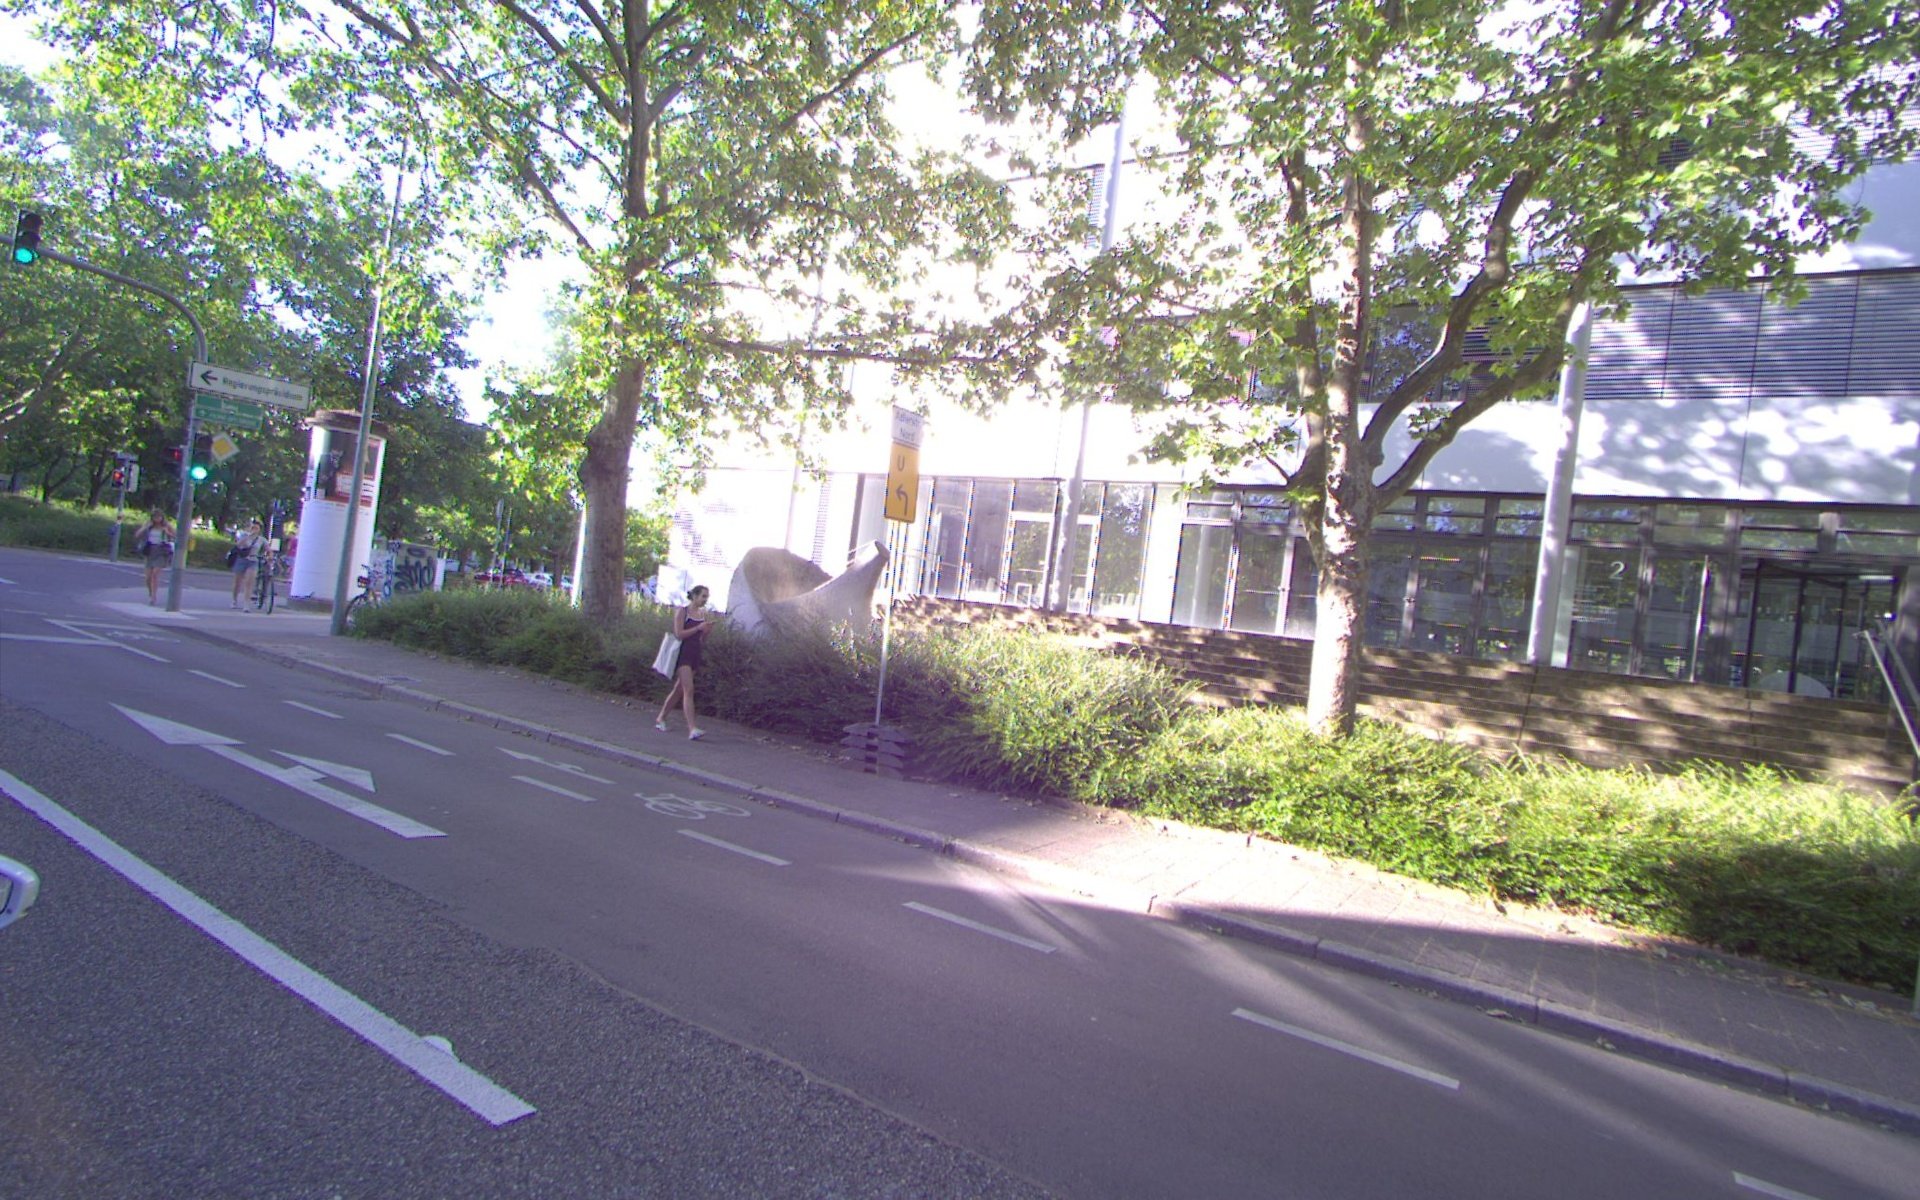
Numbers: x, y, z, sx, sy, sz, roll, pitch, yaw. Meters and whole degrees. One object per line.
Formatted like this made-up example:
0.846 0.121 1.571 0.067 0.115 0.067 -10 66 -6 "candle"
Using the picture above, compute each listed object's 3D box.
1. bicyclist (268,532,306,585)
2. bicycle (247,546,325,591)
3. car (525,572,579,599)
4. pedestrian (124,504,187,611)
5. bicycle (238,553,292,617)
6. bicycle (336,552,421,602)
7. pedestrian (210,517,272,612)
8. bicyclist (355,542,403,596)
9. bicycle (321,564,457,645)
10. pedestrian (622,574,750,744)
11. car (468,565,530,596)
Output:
-23.143 -1.424 34.605 0.664 1.717 0.711 7 -2 33 "bicyclist"
-23.180 -1.068 34.627 0.589 1.234 2.035 7 -3 32 "bicycle"
-29.401 -1.041 72.408 3.733 1.484 1.575 6 -2 32 "car"
-14.721 -0.772 18.401 0.729 1.830 0.899 6 -1 -40 "pedestrian"
-13.554 -0.304 19.590 0.523 1.112 1.721 9 -2 -42 "bicycle"
-19.565 -0.765 33.895 0.649 1.341 2.293 6 -3 34 "bicycle"
-13.800 -0.686 19.300 0.681 1.717 0.959 9 -2 -43 "pedestrian"
-19.564 -1.045 33.891 0.856 1.634 0.965 6 -2 35 "bicyclist"
-10.127 0.112 17.919 0.519 1.203 1.980 7 -3 31 "bicycle"
-2.913 0.615 10.713 0.893 1.651 0.798 6 1 34 "pedestrian"
-28.956 -1.232 63.207 3.733 1.499 1.633 6 -2 32 "car"
